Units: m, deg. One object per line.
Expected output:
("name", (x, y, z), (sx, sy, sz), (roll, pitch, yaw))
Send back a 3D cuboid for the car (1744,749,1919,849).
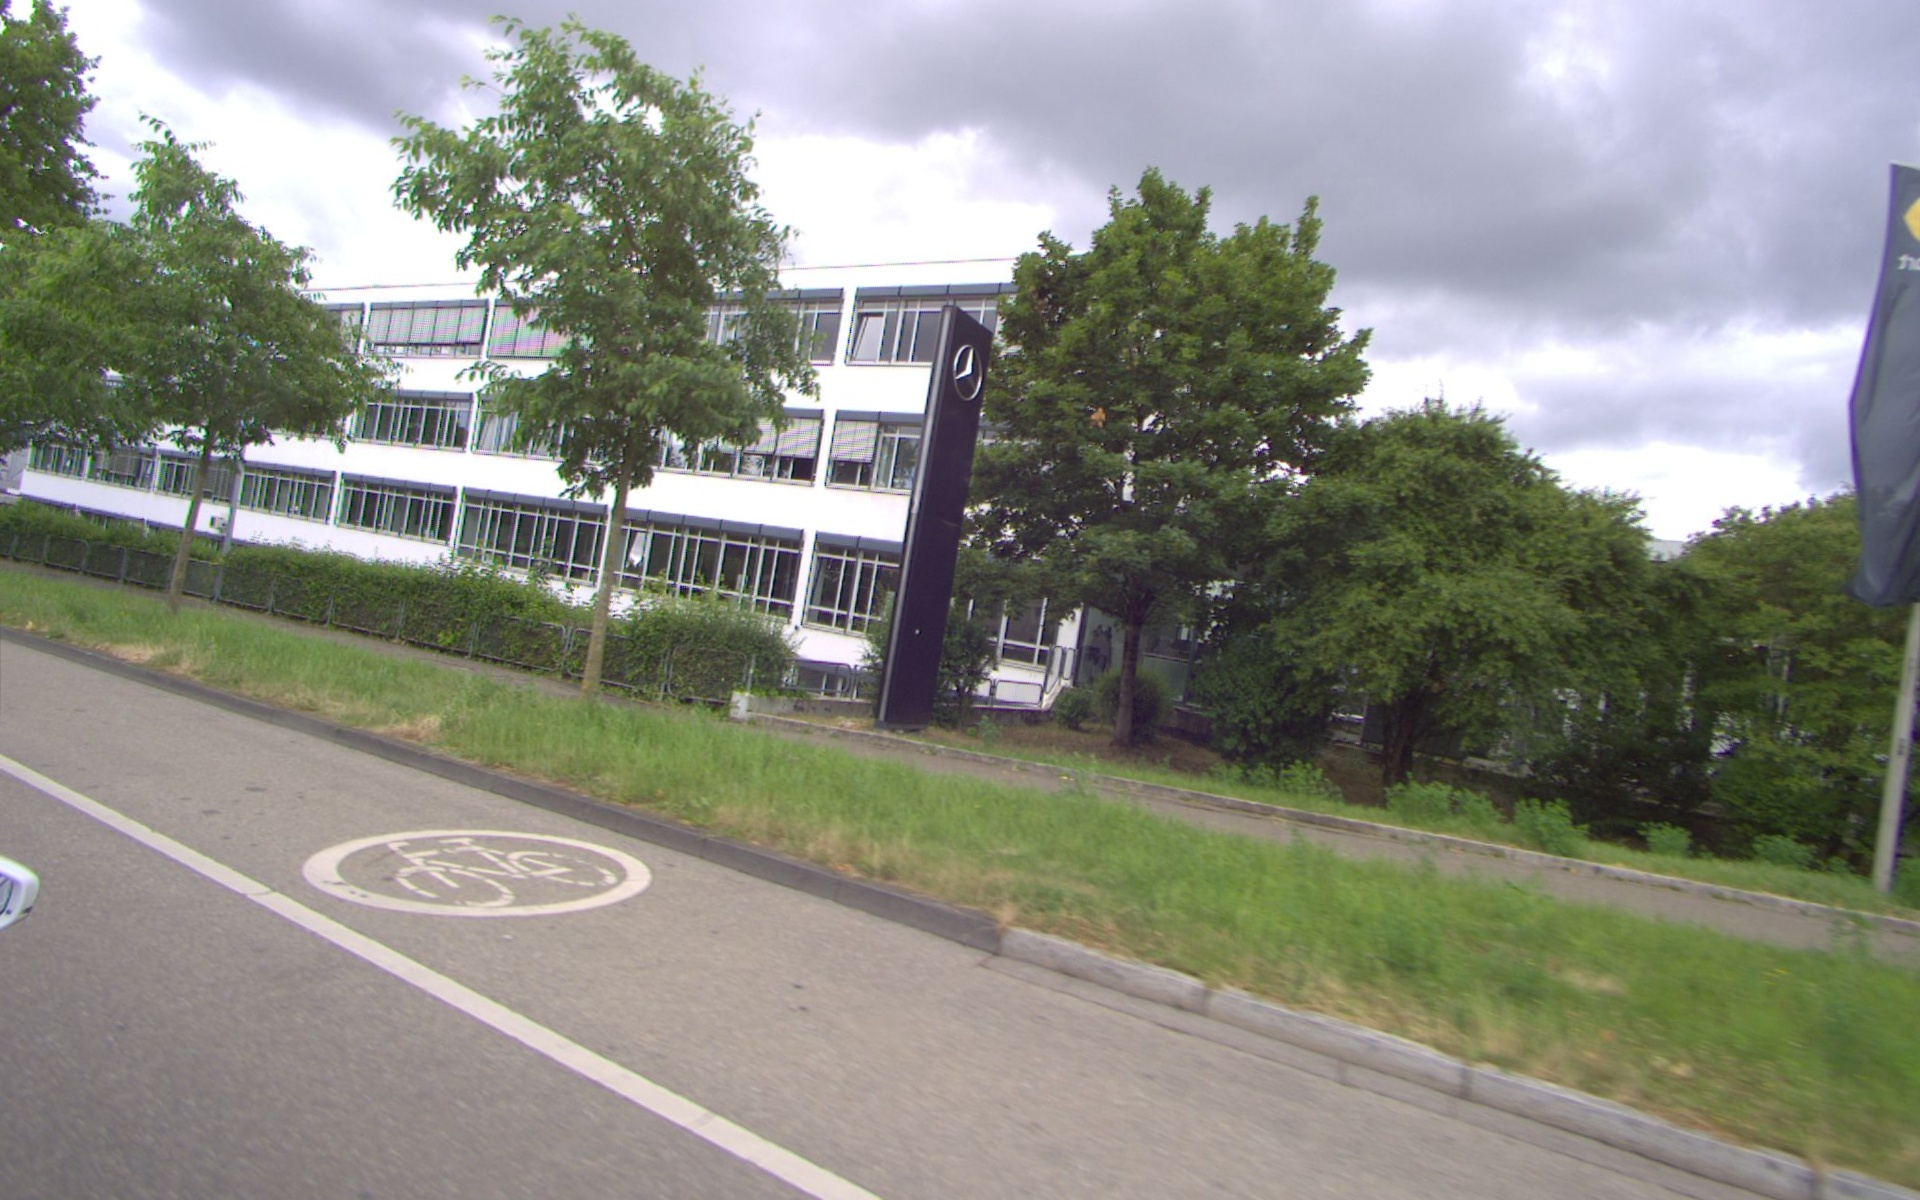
("car", (16.572, 3.692, 18.510), (3.024, 1.310, 1.599), (8, -2, 29))
